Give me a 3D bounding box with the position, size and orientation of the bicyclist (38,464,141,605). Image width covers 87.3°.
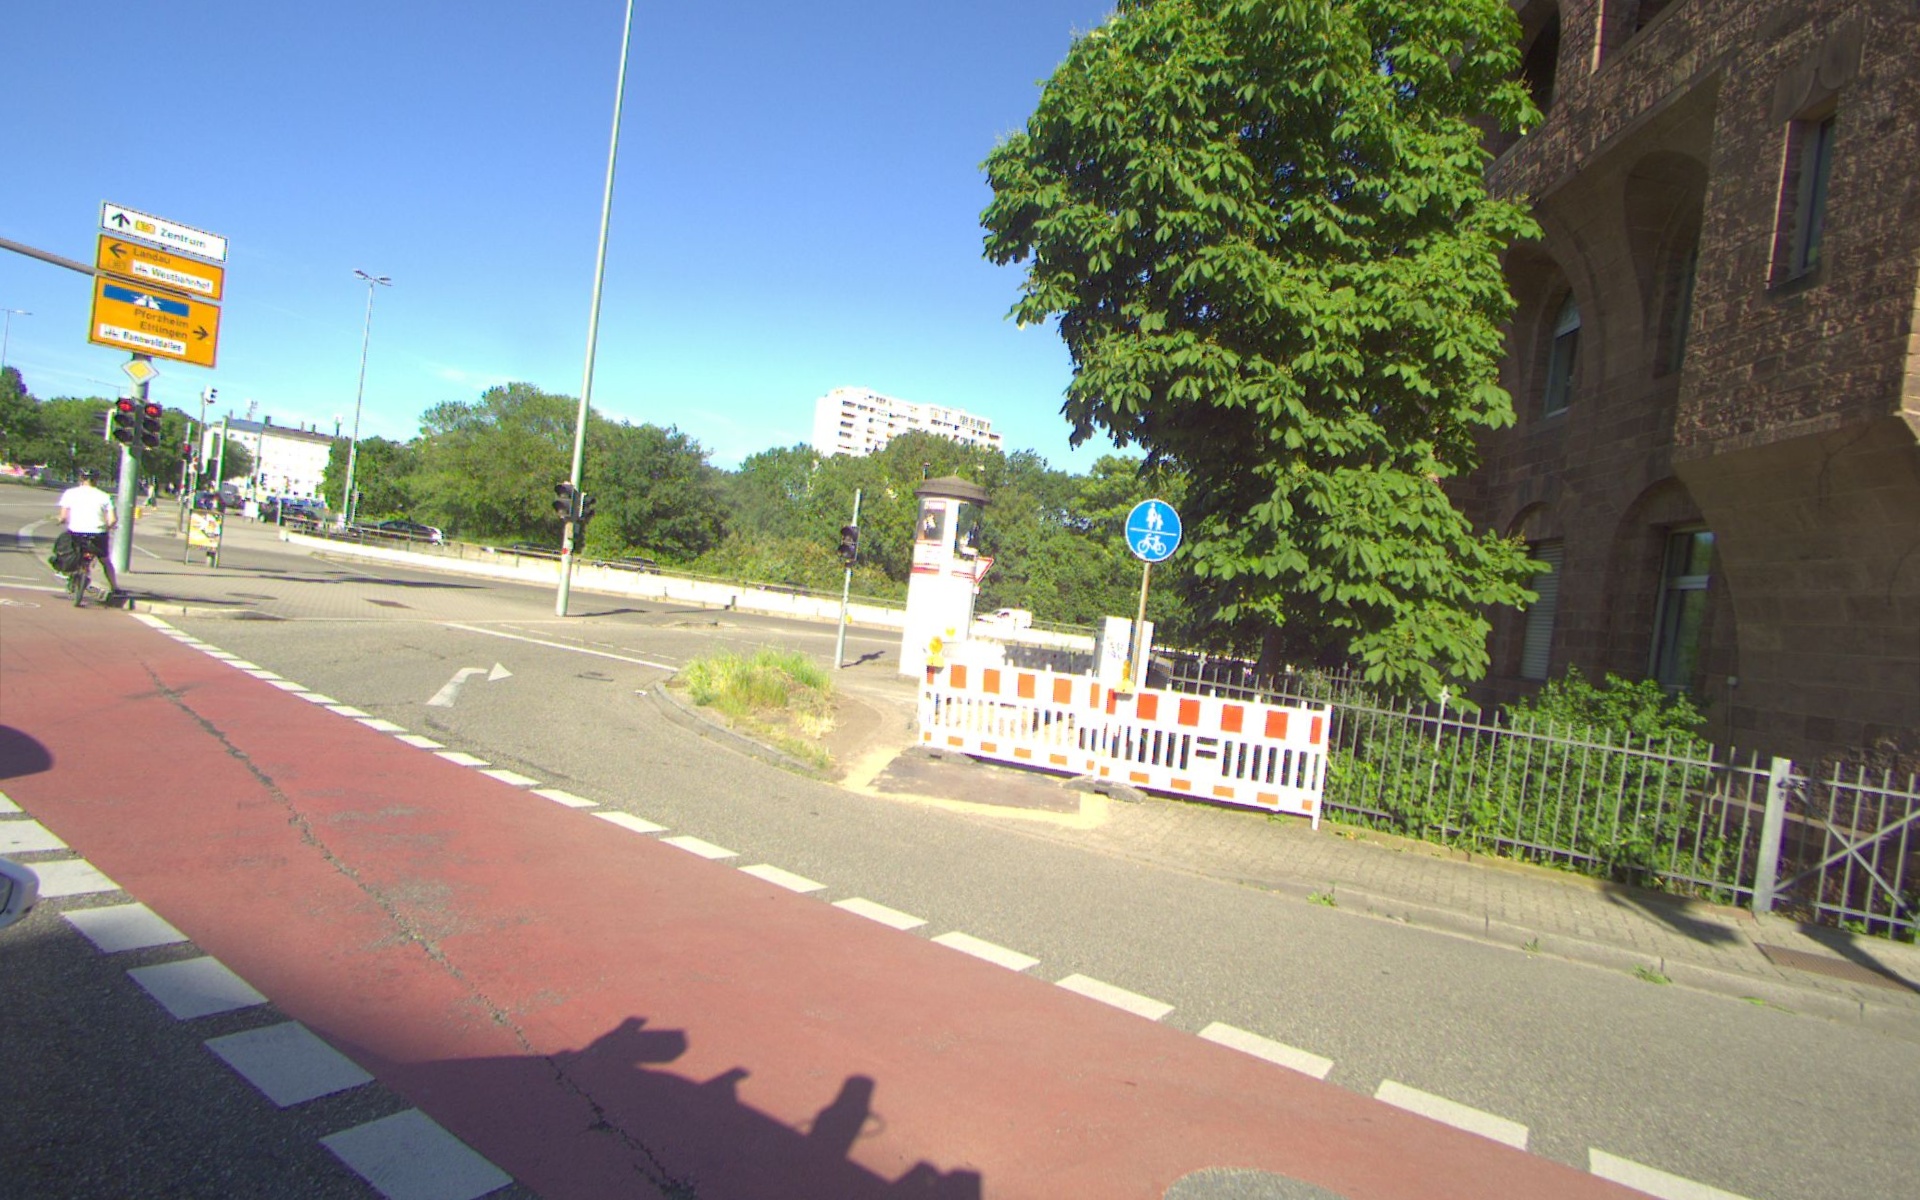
[{"bbox_3d":[-11.750,-0.879,13.617,0.795,1.725,1.074,8,-1,-37],"label":"bicyclist"}]

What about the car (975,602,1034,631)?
[{"bbox_3d":[3.377,1.225,75.772,3.946,1.638,1.719,8,1,-22],"label":"car"}]

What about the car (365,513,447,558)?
[{"bbox_3d":[-33.567,-3.889,61.084,3.943,2.037,1.992,7,-2,-20],"label":"car"}]

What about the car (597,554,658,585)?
[{"bbox_3d":[-23.773,-2.151,71.864,3.944,1.638,1.719,8,1,-20],"label":"car"}]

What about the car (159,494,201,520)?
[{"bbox_3d":[-64.046,-7.574,82.566,3.948,1.770,1.990,4,-2,43],"label":"car"}]

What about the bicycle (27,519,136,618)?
[{"bbox_3d":[-11.735,-0.456,13.518,0.795,1.124,2.378,8,-1,-36],"label":"bicycle"}]

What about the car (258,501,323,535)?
[{"bbox_3d":[-46.829,-5.735,70.378,3.929,1.683,1.997,9,1,27],"label":"car"}]

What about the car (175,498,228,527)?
[{"bbox_3d":[-57.941,-6.658,76.818,4.817,1.876,2.012,4,-2,40],"label":"car"}]
